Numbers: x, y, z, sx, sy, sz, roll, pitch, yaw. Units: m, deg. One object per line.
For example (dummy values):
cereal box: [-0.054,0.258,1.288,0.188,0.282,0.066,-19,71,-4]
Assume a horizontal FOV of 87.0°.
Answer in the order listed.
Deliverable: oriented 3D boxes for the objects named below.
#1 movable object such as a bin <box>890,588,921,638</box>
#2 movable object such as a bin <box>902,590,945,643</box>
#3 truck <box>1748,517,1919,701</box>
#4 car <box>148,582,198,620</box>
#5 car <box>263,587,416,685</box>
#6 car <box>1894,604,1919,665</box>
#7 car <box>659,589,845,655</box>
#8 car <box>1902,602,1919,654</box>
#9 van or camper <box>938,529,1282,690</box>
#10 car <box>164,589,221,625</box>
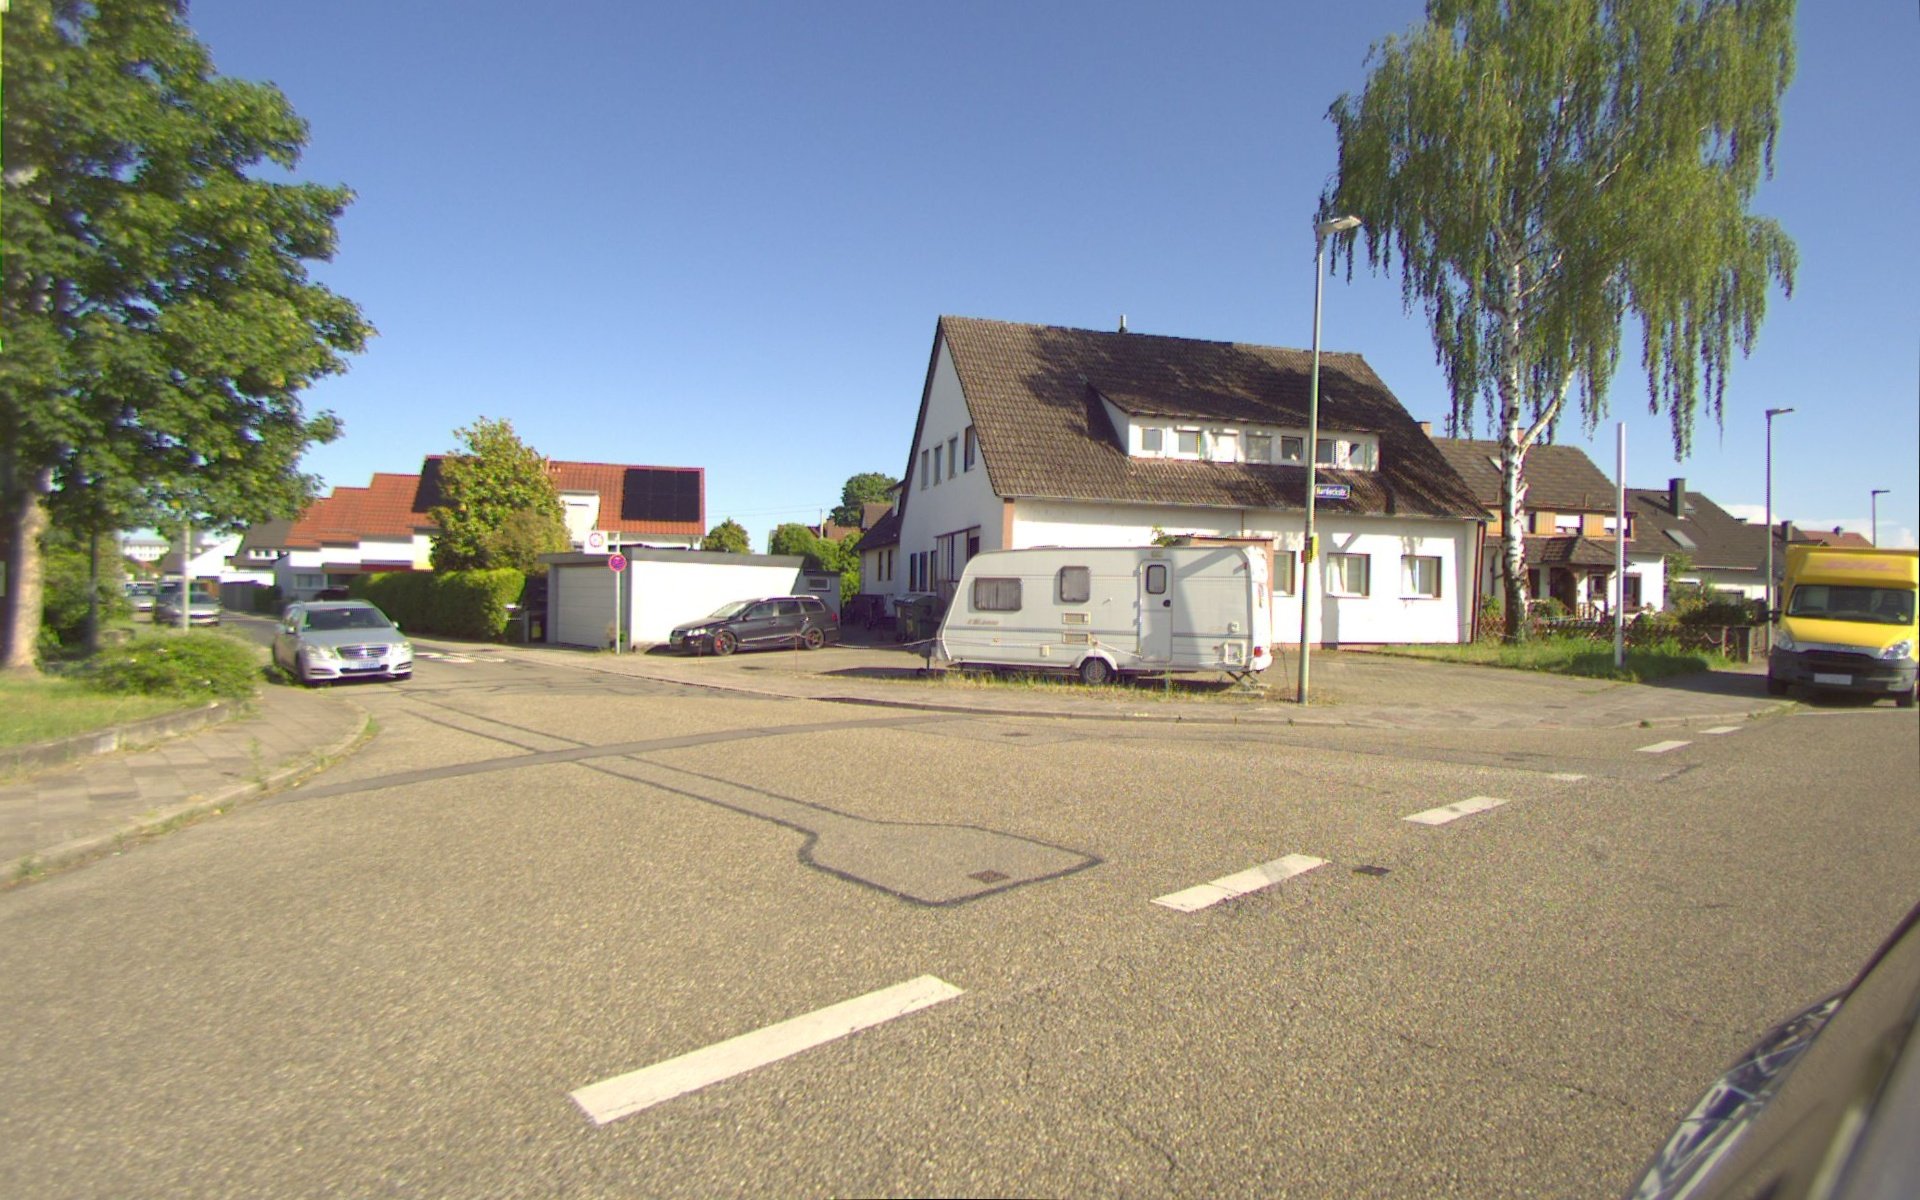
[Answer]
movable object such as a bin: [-1.615,0.372,29.743,0.587,1.454,1.196,1,0,-18]
movable object such as a bin: [-1.031,0.461,28.253,0.970,1.454,0.838,1,0,-18]
truck: [17.425,0.105,19.410,6.896,2.972,2.407,0,3,-42]
car: [-37.211,0.019,47.819,1.622,1.739,3.742,1,0,-42]
car: [-12.092,0.604,19.578,1.769,1.638,4.517,1,0,-41]
car: [26.485,0.916,27.309,1.784,1.561,4.464,1,0,44]
car: [-5.432,0.518,26.775,4.551,1.455,1.718,-3,2,-41]
car: [30.313,0.853,30.936,3.969,1.562,1.678,1,-1,-39]
van or camper: [2.699,0.096,18.308,5.767,2.573,2.272,1,0,23]
car: [-32.238,0.276,42.462,1.622,1.430,3.742,1,0,-42]
